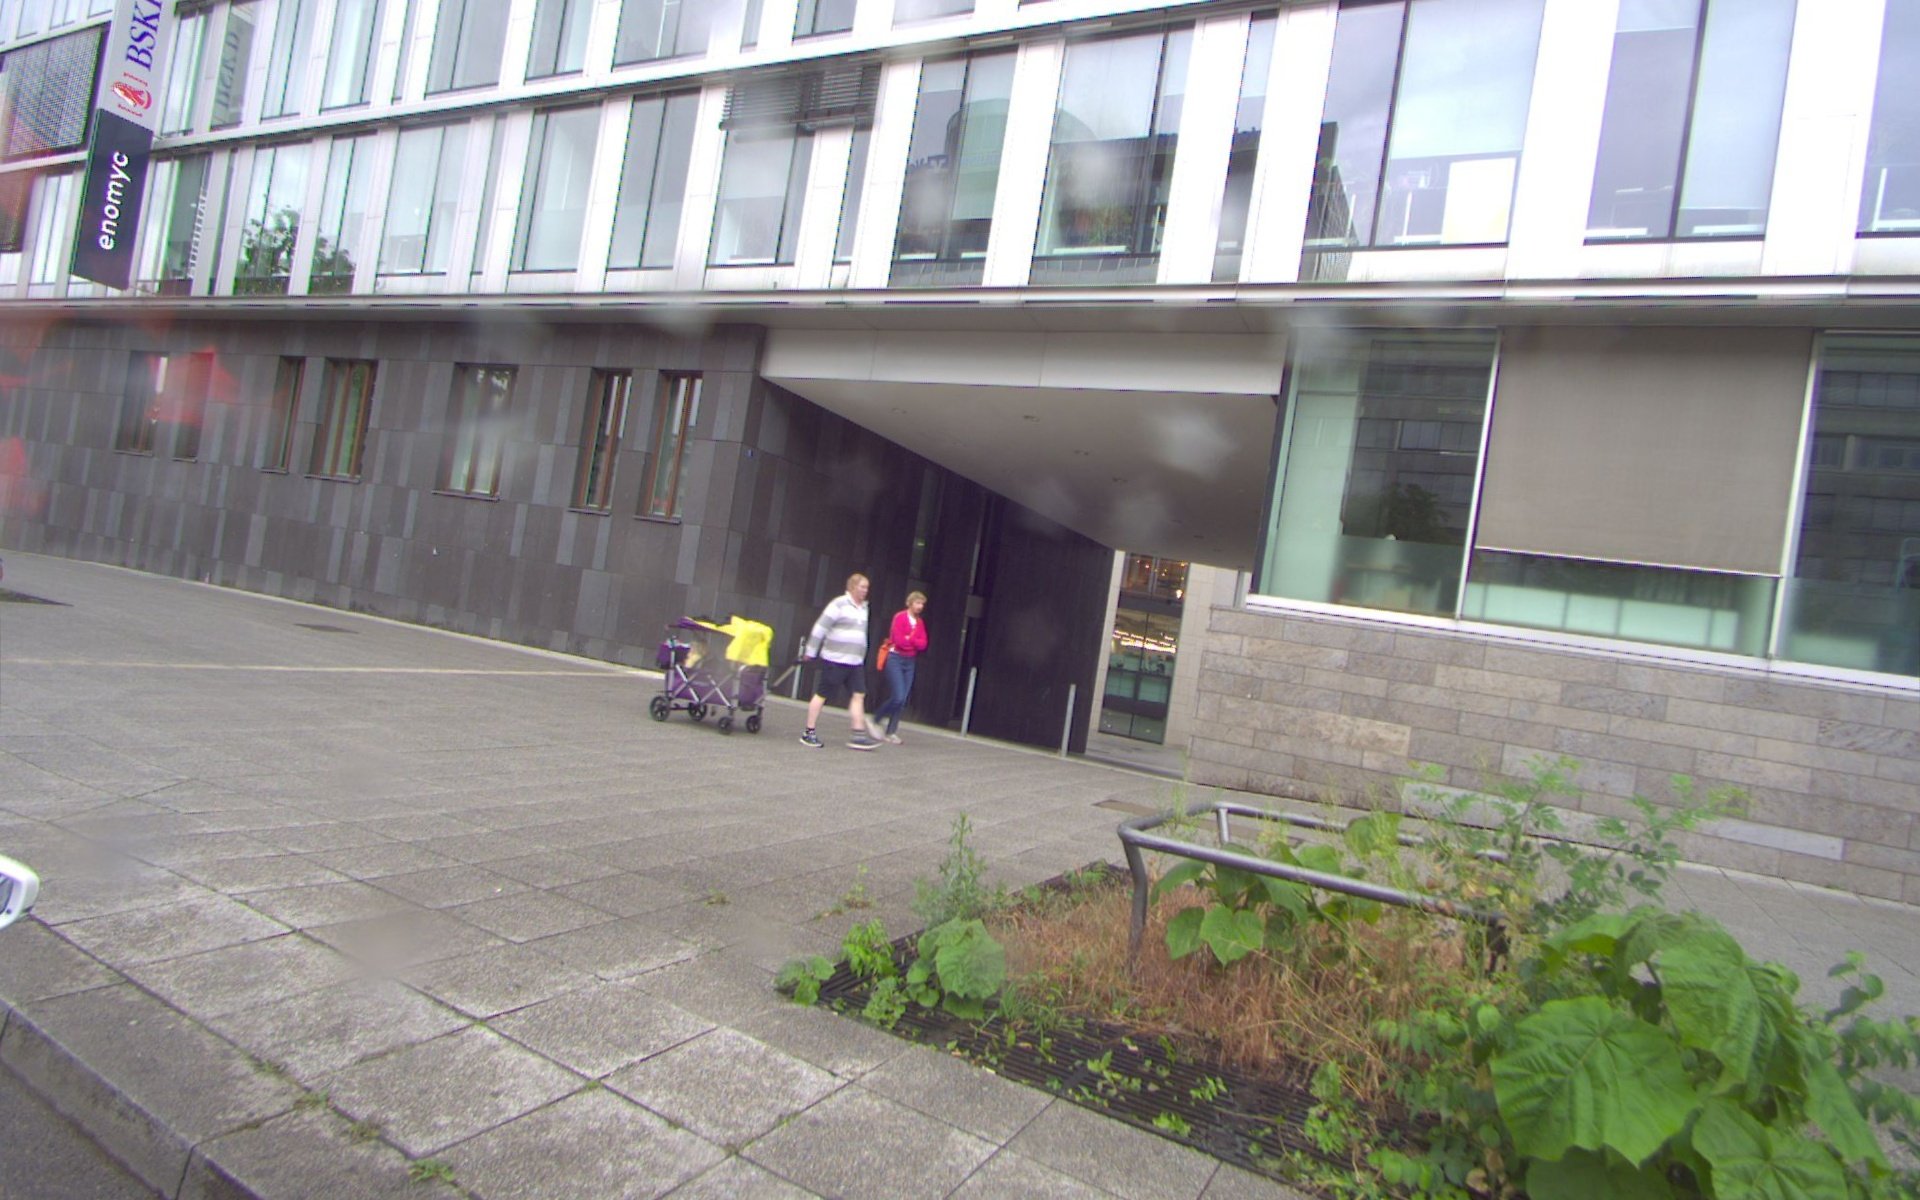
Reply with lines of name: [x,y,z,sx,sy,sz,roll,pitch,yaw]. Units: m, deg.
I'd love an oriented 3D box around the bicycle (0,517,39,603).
bicycle: [-13.061,-0.642,12.264,0.665,1.069,2.543,7,-2,27]

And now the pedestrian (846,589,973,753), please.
pedestrian: [-0.581,0.801,11.647,1.080,1.712,0.719,7,1,26]

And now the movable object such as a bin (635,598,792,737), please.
movable object such as a bin: [-2.694,0.715,10.969,1.419,1.280,0.732,7,1,29]

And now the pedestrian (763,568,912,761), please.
pedestrian: [-1.269,0.653,10.529,1.028,1.814,0.901,7,1,26]
